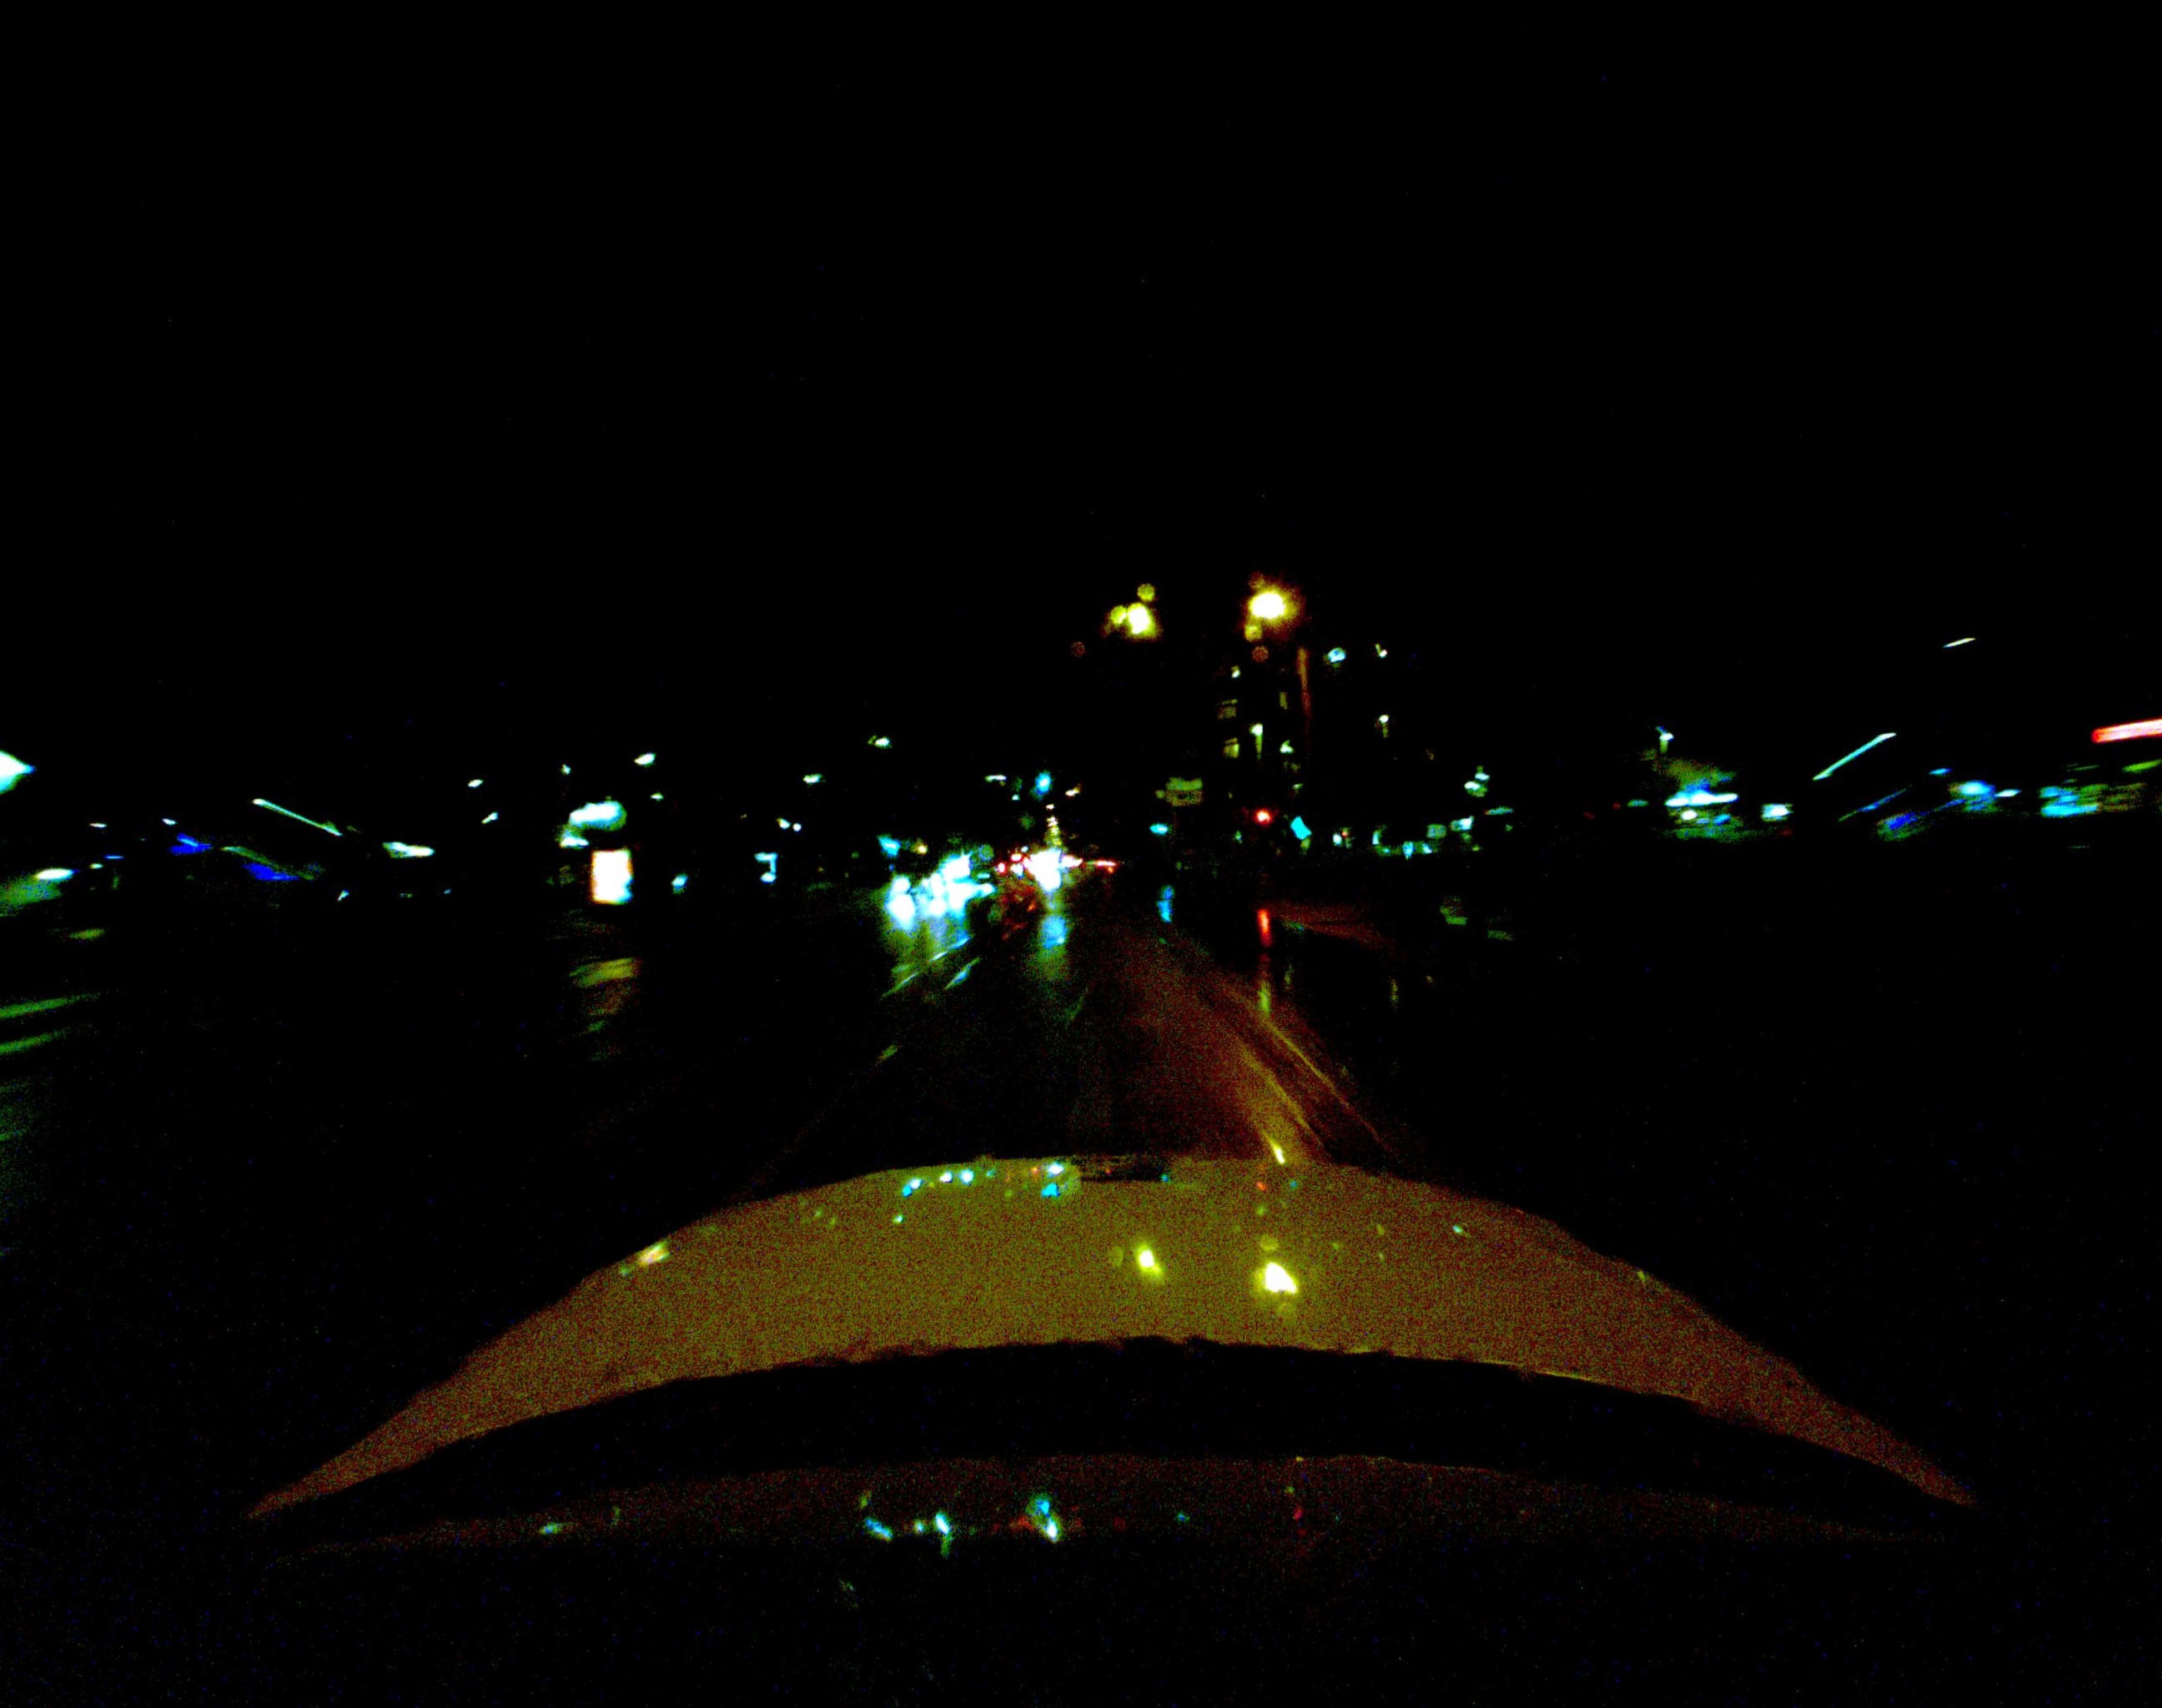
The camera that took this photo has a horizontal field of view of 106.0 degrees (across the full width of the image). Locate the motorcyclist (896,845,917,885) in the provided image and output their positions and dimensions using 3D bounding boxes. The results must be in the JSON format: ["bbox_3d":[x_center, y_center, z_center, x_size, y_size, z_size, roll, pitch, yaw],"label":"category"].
[{"bbox_3d":[-8.802,0.549,41.175,0.690,2.013,0.984,-3,0,4],"label":"motorcyclist"}]

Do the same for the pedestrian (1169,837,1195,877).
[{"bbox_3d":[4.794,0.146,38.653,1.103,1.825,0.852,-3,0,3],"label":"pedestrian"}]

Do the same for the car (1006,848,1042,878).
[{"bbox_3d":[-3.178,0.525,46.087,1.814,1.542,4.721,-3,-1,-3],"label":"car"}]

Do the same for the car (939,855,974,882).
[{"bbox_3d":[-7.909,0.865,52.023,1.641,1.511,4.105,-5,0,-2],"label":"car"}]

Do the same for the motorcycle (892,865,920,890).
[{"bbox_3d":[-8.789,1.177,41.013,0.698,1.138,2.178,-3,0,4],"label":"motorcycle"}]

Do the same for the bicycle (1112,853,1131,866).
[{"bbox_3d":[4.329,0.617,87.147,1.895,1.251,0.594,-4,-1,-7],"label":"bicycle"}]

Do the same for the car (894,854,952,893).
[{"bbox_3d":[-6.915,0.816,36.077,1.848,1.499,4.764,-3,0,-3],"label":"car"}]

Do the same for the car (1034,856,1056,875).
[{"bbox_3d":[-3.240,1.021,72.465,1.704,1.542,3.980,-3,-1,-6],"label":"car"}]

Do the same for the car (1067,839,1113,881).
[{"bbox_3d":[0.424,0.332,43.013,2.162,1.972,4.299,-3,-1,-2],"label":"car"}]

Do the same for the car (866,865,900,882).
[{"bbox_3d":[-23.330,2.290,96.144,1.682,1.700,4.217,-2,1,23],"label":"car"}]

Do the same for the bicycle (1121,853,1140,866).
[{"bbox_3d":[5.214,0.599,85.956,1.895,1.251,0.709,-4,-1,-7],"label":"bicycle"}]

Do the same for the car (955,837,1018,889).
[{"bbox_3d":[-4.014,0.363,35.626,2.028,1.953,5.198,-5,0,0],"label":"car"}]

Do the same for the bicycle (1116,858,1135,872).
[{"bbox_3d":[4.831,1.225,88.094,1.895,1.360,0.594,-4,-1,-7],"label":"bicycle"}]

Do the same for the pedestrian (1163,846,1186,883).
[{"bbox_3d":[4.837,0.518,42.085,1.102,1.825,0.852,-3,0,5],"label":"pedestrian"}]
